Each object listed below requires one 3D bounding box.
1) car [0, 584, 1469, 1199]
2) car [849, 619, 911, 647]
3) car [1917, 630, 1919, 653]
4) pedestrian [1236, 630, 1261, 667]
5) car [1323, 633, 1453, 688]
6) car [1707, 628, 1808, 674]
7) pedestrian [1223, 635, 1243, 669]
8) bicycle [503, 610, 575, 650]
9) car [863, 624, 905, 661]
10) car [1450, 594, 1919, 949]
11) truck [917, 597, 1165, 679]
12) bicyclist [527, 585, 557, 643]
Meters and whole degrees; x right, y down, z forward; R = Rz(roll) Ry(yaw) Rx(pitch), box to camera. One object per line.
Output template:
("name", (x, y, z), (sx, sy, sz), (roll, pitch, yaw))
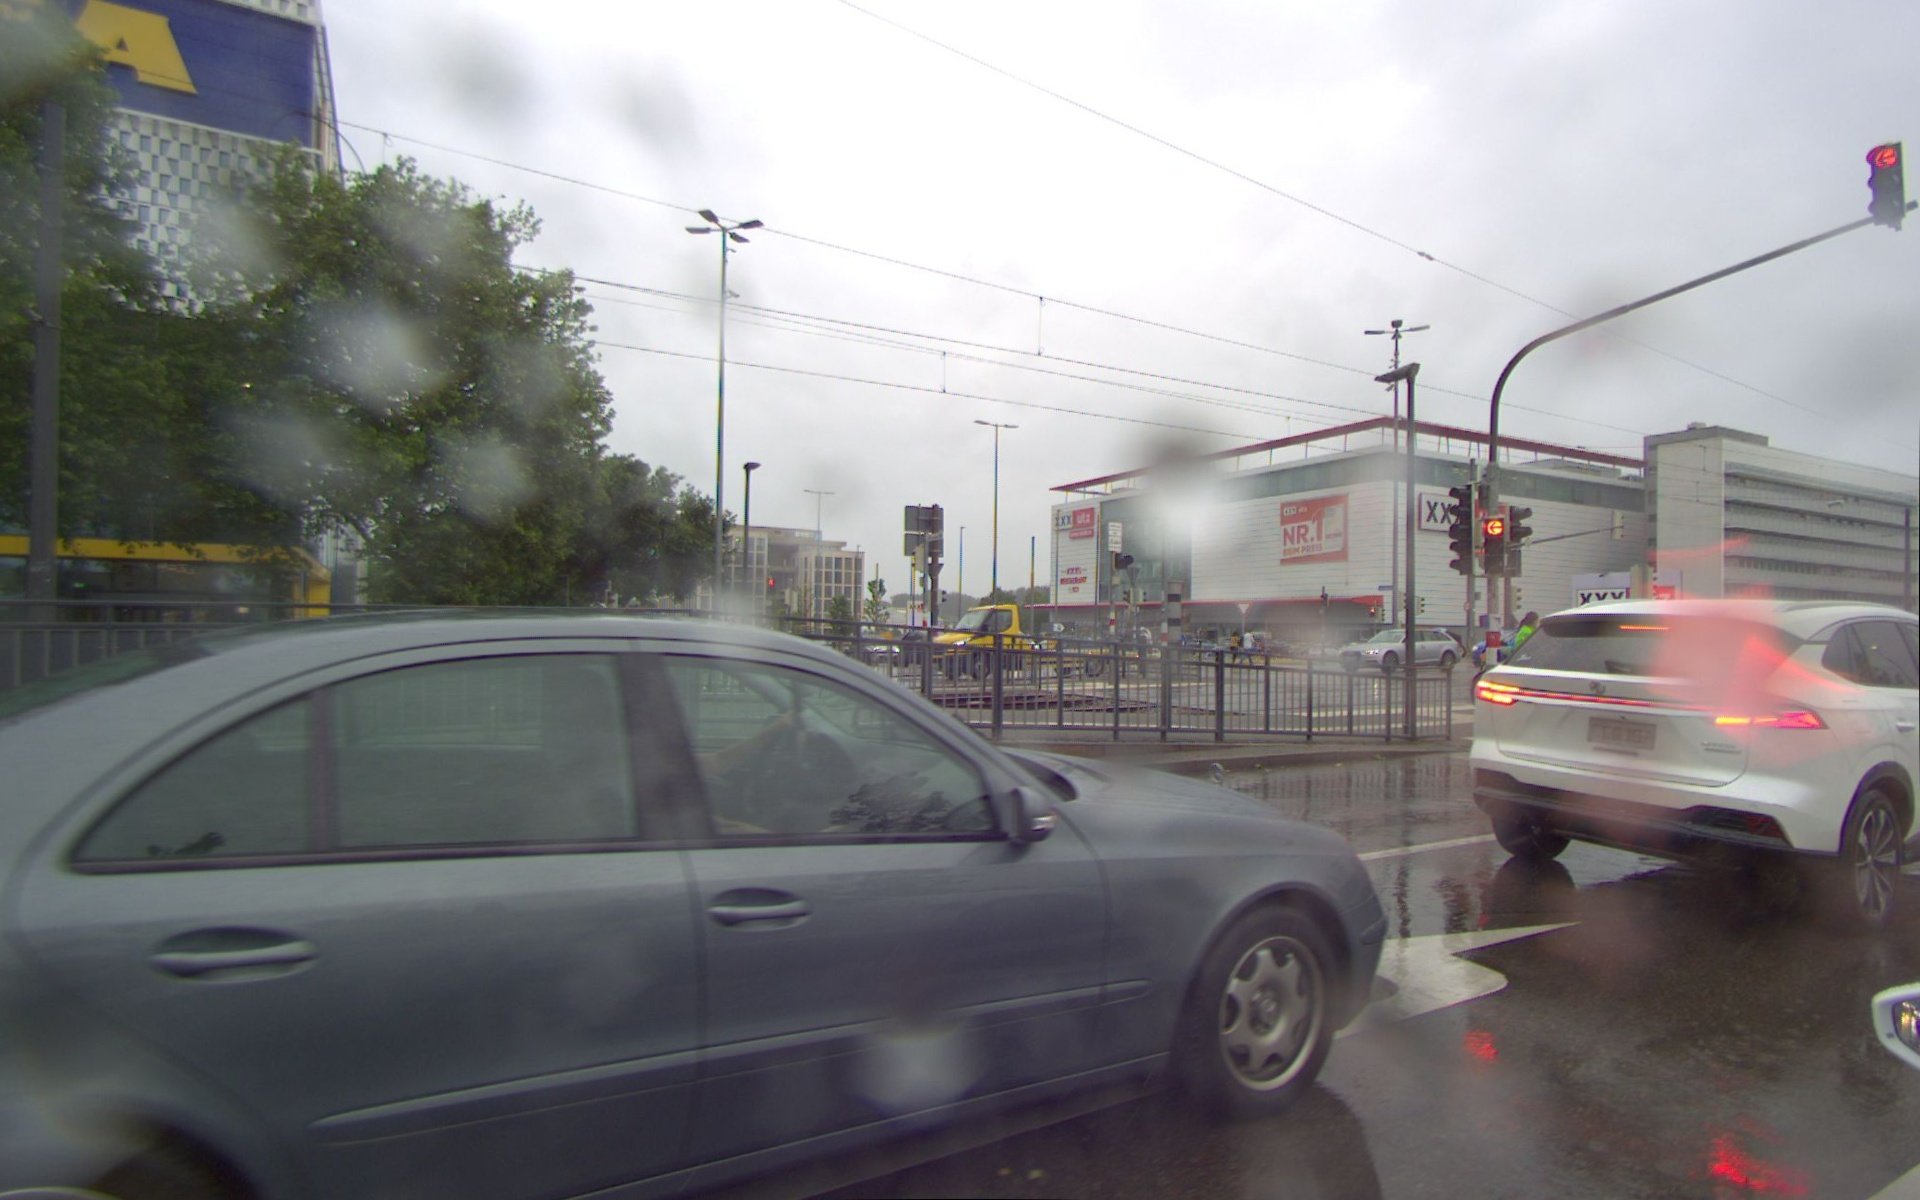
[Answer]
("car", (-0.749, 0.741, 2.899), (4.591, 1.417, 1.753), (3, -1, -31))
("car", (-5.154, 2.140, 65.149), (3.723, 1.645, 2.001), (2, 0, 3))
("car", (65.653, 2.828, 66.823), (3.791, 1.507, 1.763), (2, 0, -28))
("pedestrian", (12.462, 2.106, 43.340), (0.862, 1.557, 0.561), (2, 0, -30))
("car", (14.468, 2.038, 33.960), (3.946, 1.722, 1.887), (2, 0, -25))
("car", (35.200, 2.256, 44.339), (3.945, 1.851, 1.924), (2, 0, -25))
("pedestrian", (12.446, 2.369, 45.832), (0.643, 1.517, 0.561), (2, 0, -30))
("bicycle", (-11.016, 0.787, 26.291), (1.687, 1.000, 0.448), (2, 0, -29))
("car", (-3.730, 2.059, 49.832), (1.670, 1.655, 3.651), (2, 0, 2))
("car", (5.160, 0.792, 6.261), (4.247, 1.555, 1.720), (1, 0, -30))
("truck", (2.593, 1.201, 31.139), (7.534, 2.309, 2.343), (2, 0, -27))
("bicyclist", (-10.952, 0.369, 26.318), (0.639, 1.483, 0.681), (2, 0, -28))
